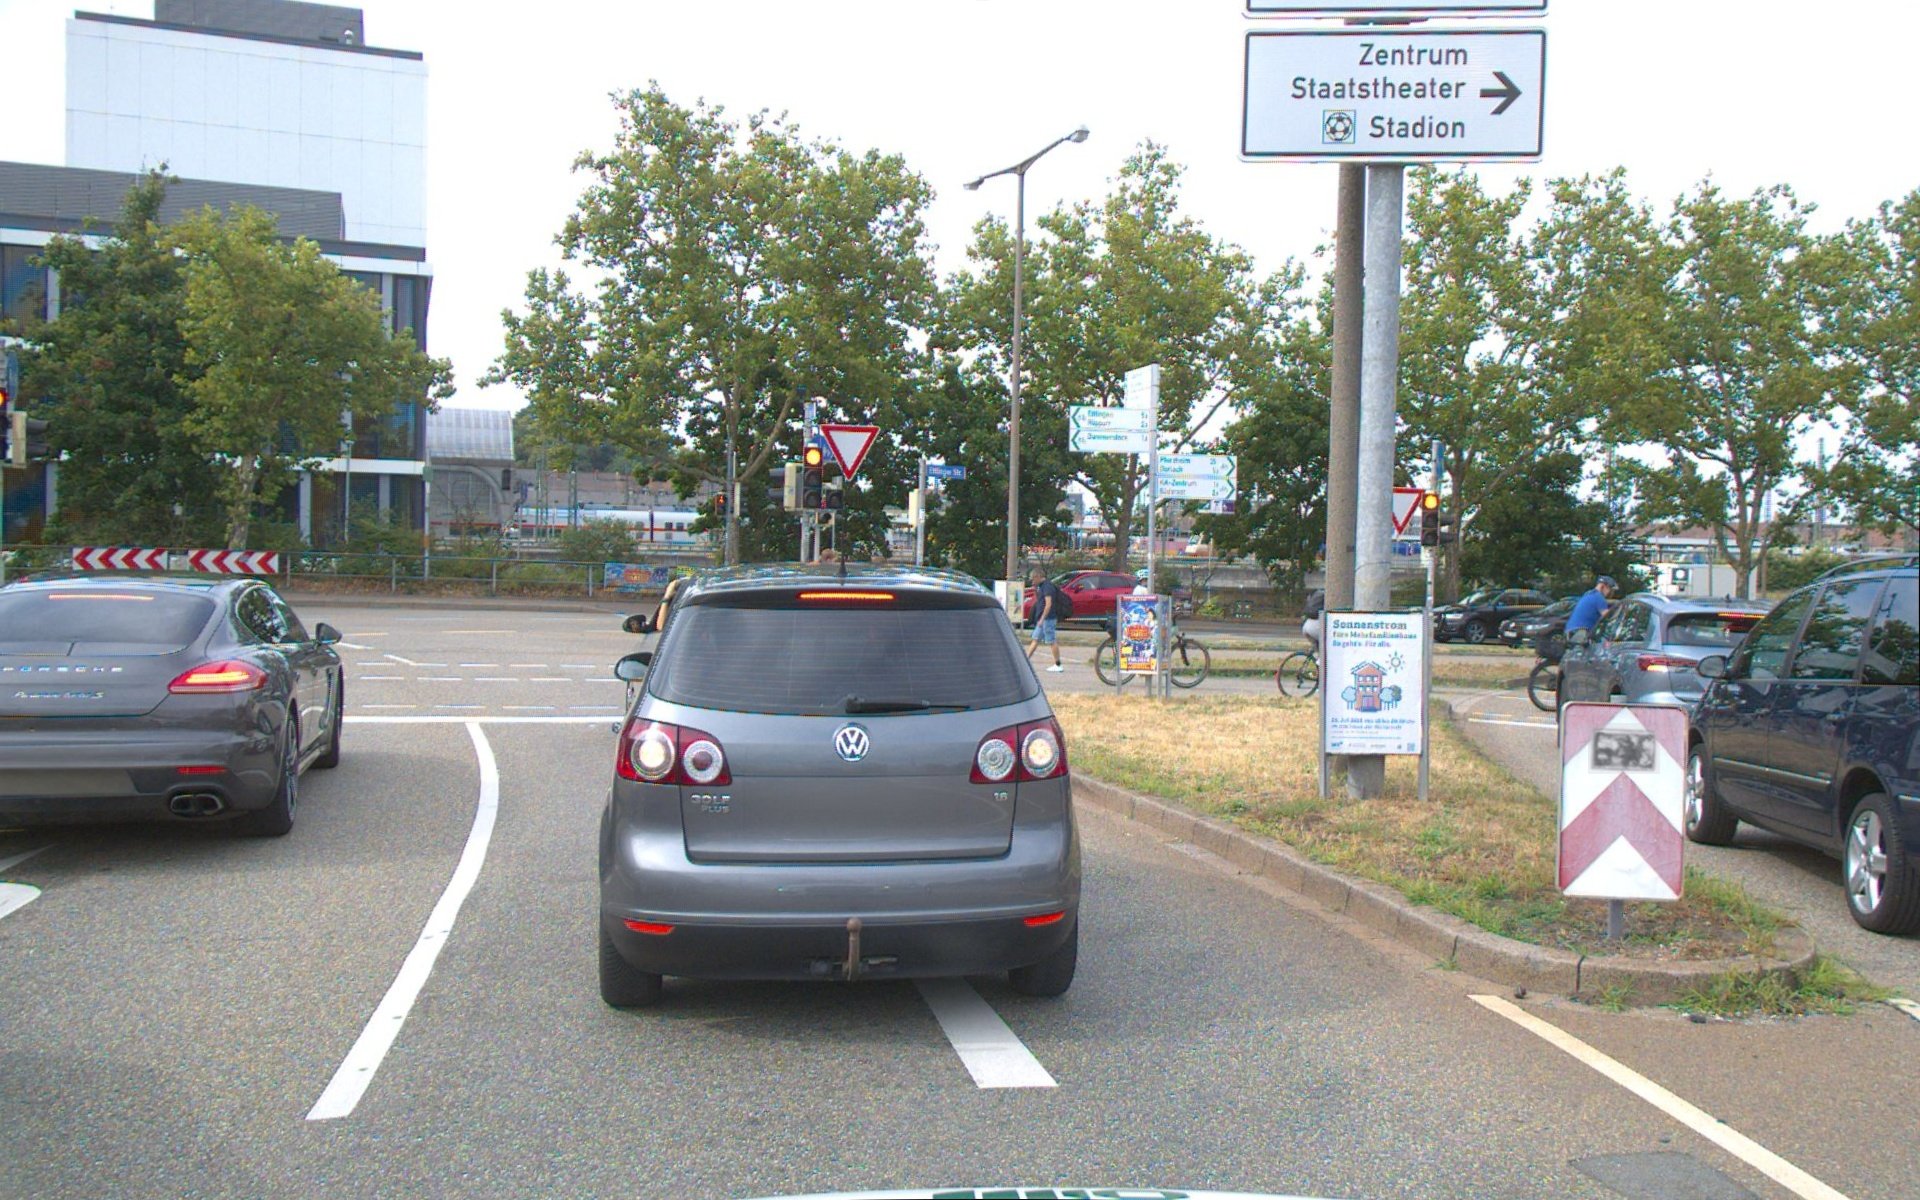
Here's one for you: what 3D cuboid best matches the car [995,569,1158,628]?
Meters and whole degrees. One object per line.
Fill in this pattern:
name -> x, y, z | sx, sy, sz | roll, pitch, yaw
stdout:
car -> 3.031, -0.032, 43.121 | 3.894, 1.473, 1.692 | 1, 1, -21

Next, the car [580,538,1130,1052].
car -> -0.604, 0.586, 7.211 | 1.709, 1.573, 4.074 | 1, 0, -9

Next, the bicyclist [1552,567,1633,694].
bicyclist -> 8.630, 0.403, 22.605 | 0.862, 1.685, 0.812 | 1, 1, 9

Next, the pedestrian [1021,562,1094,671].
pedestrian -> 1.618, 0.259, 27.227 | 1.025, 1.740, 0.854 | 2, 1, 13

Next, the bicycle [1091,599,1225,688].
bicycle -> 2.897, 0.629, 24.283 | 1.863, 1.231, 0.643 | 1, 1, -3

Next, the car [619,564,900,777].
car -> -1.832, 0.482, 13.910 | 1.713, 1.508, 4.064 | 1, 1, -16

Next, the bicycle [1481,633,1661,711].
bicycle -> 8.329, 0.977, 22.646 | 2.180, 0.969, 0.812 | 1, 1, 9

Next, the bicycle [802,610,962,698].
bicycle -> -0.959, 0.662, 20.344 | 1.871, 1.031, 0.625 | 1, 1, -18

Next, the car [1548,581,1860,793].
car -> 6.739, 0.704, 15.442 | 1.655, 1.613, 4.160 | 3, 0, 11

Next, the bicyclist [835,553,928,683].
bicyclist -> -0.967, 0.217, 20.317 | 1.000, 1.566, 0.625 | 1, 1, -17

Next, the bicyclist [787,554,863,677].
bicyclist -> -1.744, 0.191, 21.349 | 0.826, 1.556, 0.625 | 1, 1, -19

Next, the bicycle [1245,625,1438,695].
bicycle -> 5.243, 0.821, 22.739 | 2.540, 0.905, 0.702 | 1, 1, -15

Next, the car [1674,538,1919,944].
car -> 5.267, 0.653, 8.683 | 1.713, 1.754, 4.141 | 3, 0, 9

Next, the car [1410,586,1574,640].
car -> 15.266, 0.359, 47.491 | 4.260, 1.473, 1.753 | 1, 1, -18

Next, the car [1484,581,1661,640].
car -> 16.284, 0.276, 43.991 | 4.260, 1.473, 1.753 | 1, 1, -18

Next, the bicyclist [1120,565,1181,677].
bicyclist -> 2.784, 0.298, 24.274 | 0.764, 1.608, 0.654 | 1, 1, -3

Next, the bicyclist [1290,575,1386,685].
bicyclist -> 5.182, 0.402, 22.701 | 1.095, 1.461, 0.645 | 0, 1, -15

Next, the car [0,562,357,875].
car -> -4.844, 0.519, 10.112 | 1.789, 1.438, 4.756 | 1, 1, -16

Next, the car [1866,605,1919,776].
car -> 10.178, 0.934, 15.451 | 1.713, 1.671, 4.141 | 3, 0, 10
